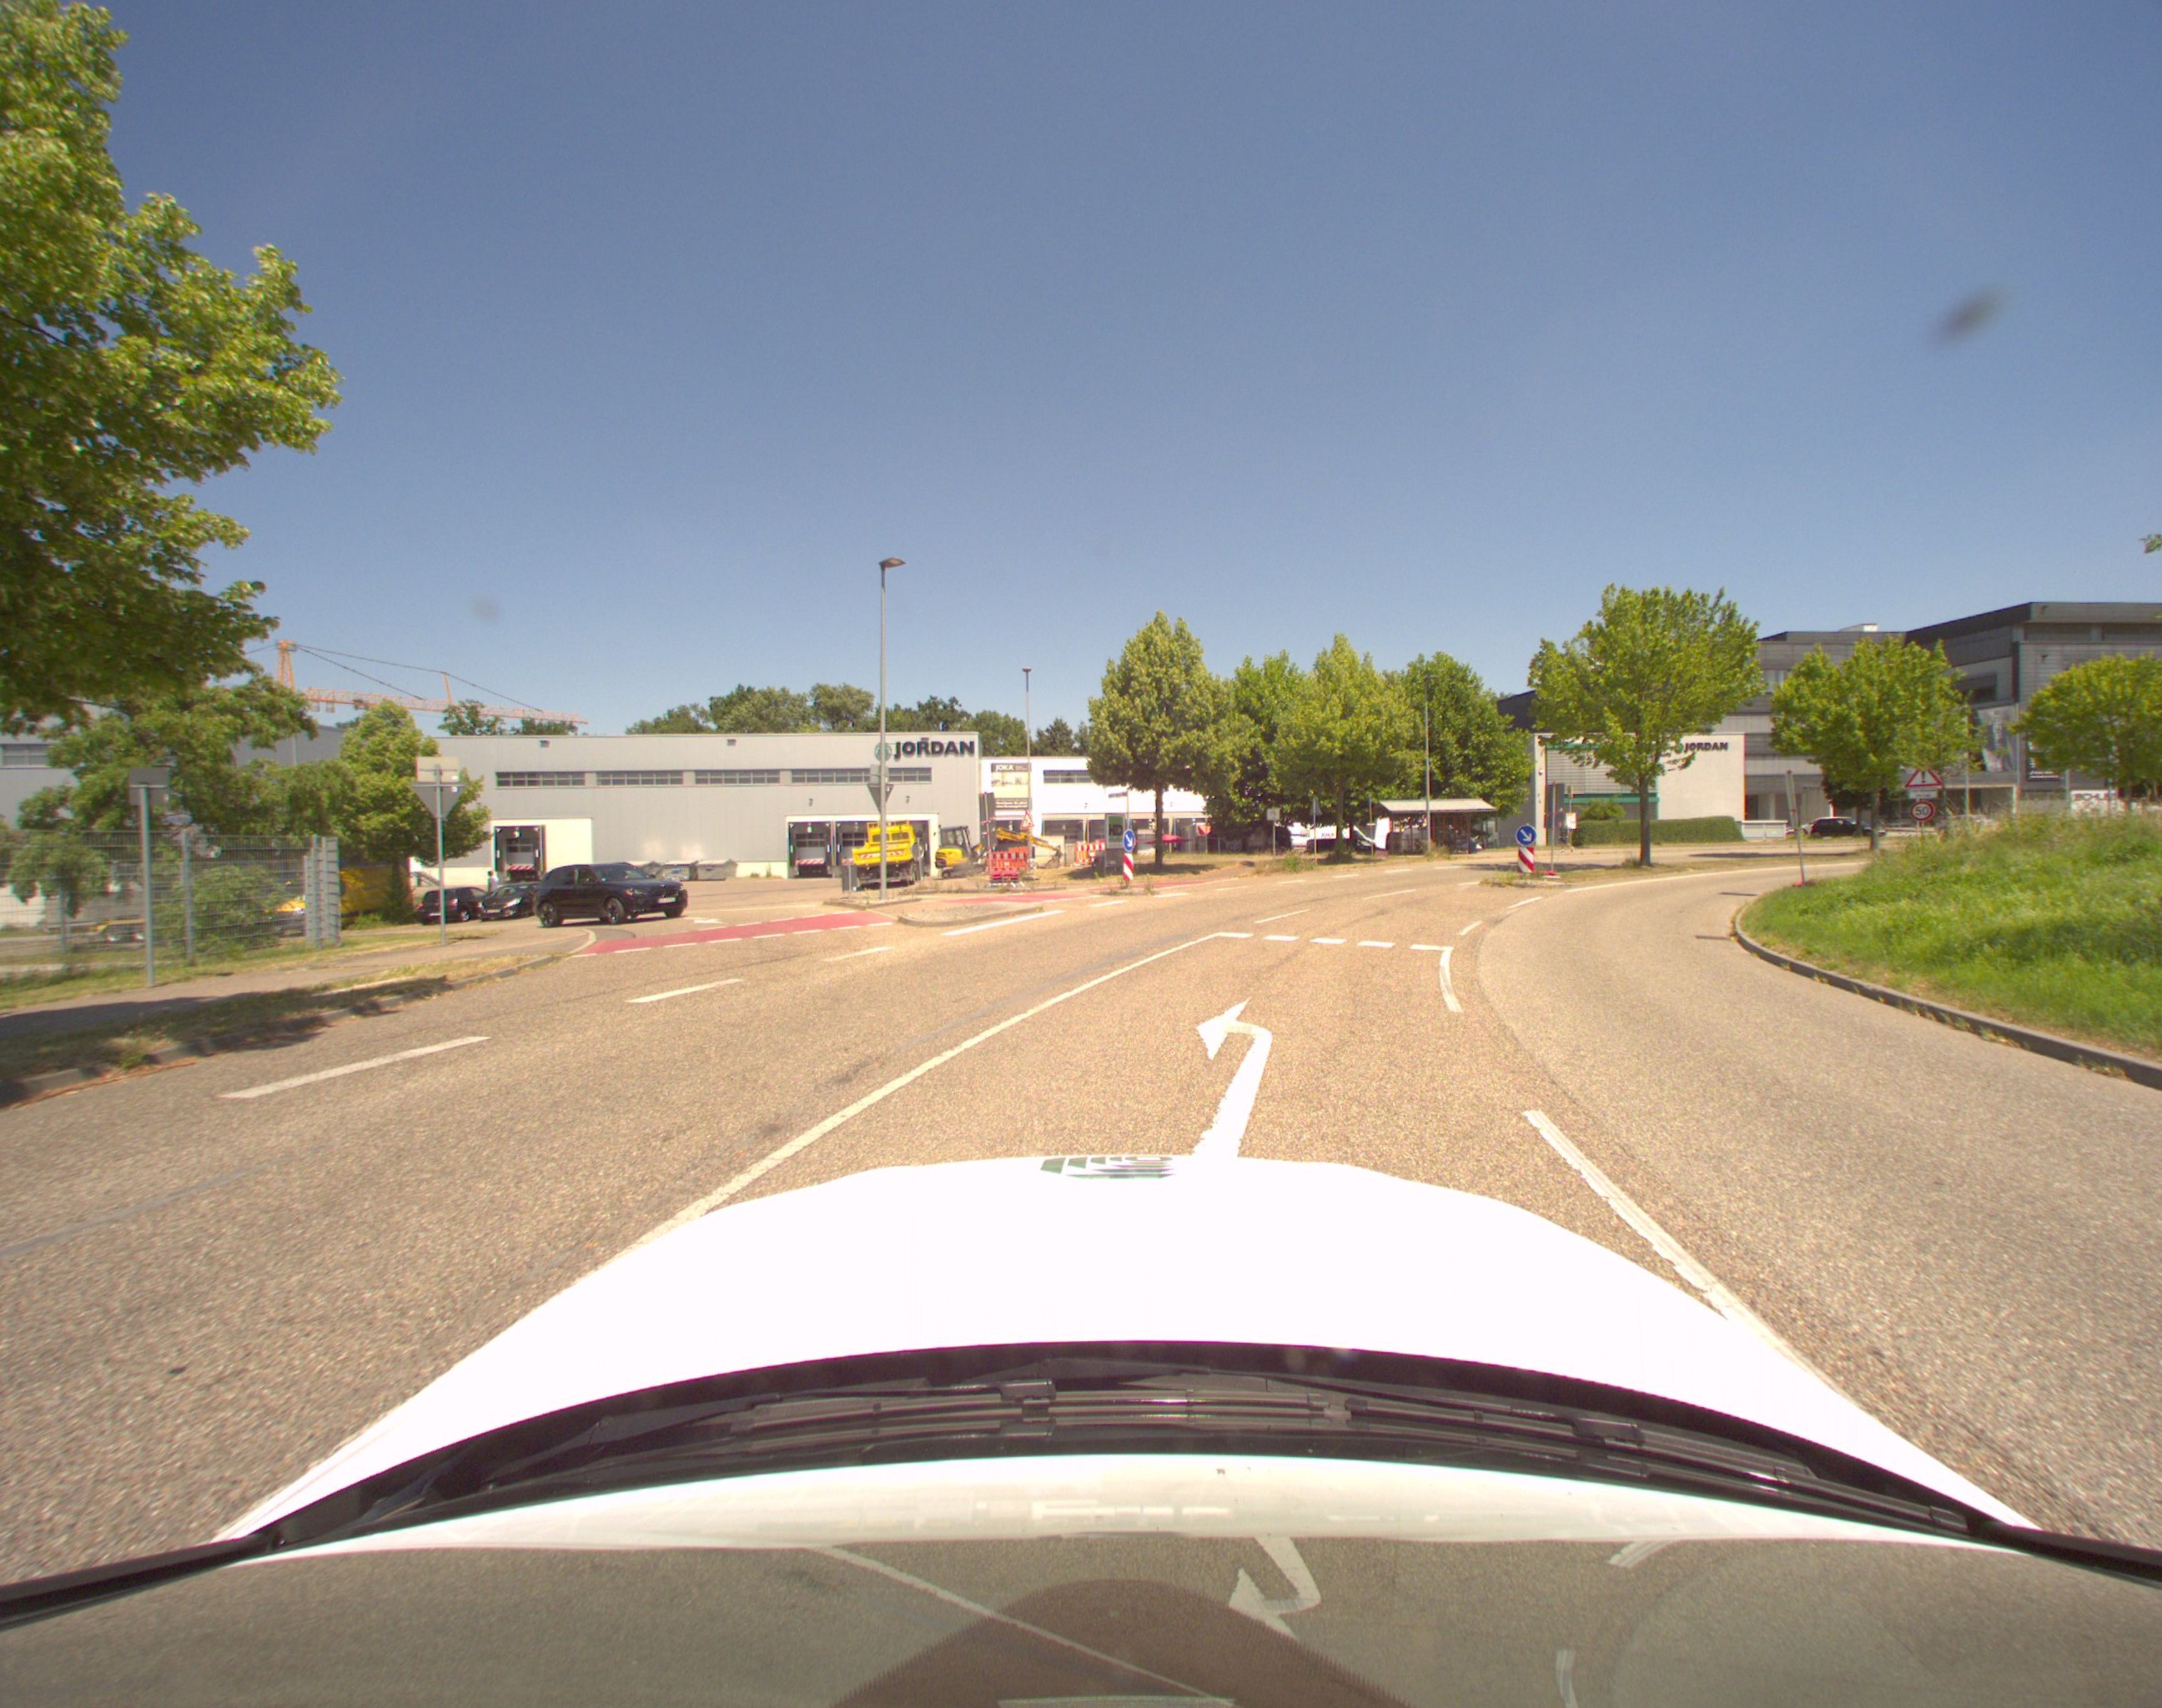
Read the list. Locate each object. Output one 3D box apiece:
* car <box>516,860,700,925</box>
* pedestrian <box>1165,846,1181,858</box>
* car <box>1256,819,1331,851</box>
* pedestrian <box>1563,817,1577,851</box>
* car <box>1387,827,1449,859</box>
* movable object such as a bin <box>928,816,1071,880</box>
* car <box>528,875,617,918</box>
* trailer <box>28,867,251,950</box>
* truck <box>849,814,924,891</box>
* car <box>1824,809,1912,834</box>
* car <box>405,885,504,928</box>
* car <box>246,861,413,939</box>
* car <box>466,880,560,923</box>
[{"bbox_3d":[-12.896,1.058,22.217,4.545,1.634,1.880,-2,-2,21],"label":"car"},{"bbox_3d":[5.712,-0.138,50.452,0.856,0.695,0.410,-2,0,19],"label":"pedestrian"},{"bbox_3d":[12.936,-1.140,49.698,3.977,1.728,1.839,-3,0,-3],"label":"car"},{"bbox_3d":[24.295,-0.975,40.440,0.524,1.670,0.582,0,-1,23],"label":"pedestrian"},{"bbox_3d":[22.071,-0.695,53.497,1.546,2.014,4.244,1,-1,-15],"label":"car"},{"bbox_3d":[-3.883,-0.295,39.629,6.534,2.581,2.000,-4,0,0],"label":"movable object such as a bin"},{"bbox_3d":[-22.128,1.810,35.610,1.618,1.462,3.668,-3,2,-3],"label":"car"},{"bbox_3d":[-39.152,2.206,34.078,5.499,2.856,2.658,-3,2,-8],"label":"trailer"},{"bbox_3d":[-9.057,-0.203,38.584,2.586,3.135,6.408,-4,3,-8],"label":"truck"},{"bbox_3d":[50.835,-2.067,52.719,1.697,1.379,3.911,-3,0,-5],"label":"car"},{"bbox_3d":[-26.889,2.215,35.115,1.620,1.478,3.607,-3,1,-5],"label":"car"},{"bbox_3d":[-31.647,1.819,34.631,1.990,2.732,5.788,-2,2,-5],"label":"car"},{"bbox_3d":[-24.372,2.008,35.114,1.583,1.507,3.775,-3,1,-6],"label":"car"}]
